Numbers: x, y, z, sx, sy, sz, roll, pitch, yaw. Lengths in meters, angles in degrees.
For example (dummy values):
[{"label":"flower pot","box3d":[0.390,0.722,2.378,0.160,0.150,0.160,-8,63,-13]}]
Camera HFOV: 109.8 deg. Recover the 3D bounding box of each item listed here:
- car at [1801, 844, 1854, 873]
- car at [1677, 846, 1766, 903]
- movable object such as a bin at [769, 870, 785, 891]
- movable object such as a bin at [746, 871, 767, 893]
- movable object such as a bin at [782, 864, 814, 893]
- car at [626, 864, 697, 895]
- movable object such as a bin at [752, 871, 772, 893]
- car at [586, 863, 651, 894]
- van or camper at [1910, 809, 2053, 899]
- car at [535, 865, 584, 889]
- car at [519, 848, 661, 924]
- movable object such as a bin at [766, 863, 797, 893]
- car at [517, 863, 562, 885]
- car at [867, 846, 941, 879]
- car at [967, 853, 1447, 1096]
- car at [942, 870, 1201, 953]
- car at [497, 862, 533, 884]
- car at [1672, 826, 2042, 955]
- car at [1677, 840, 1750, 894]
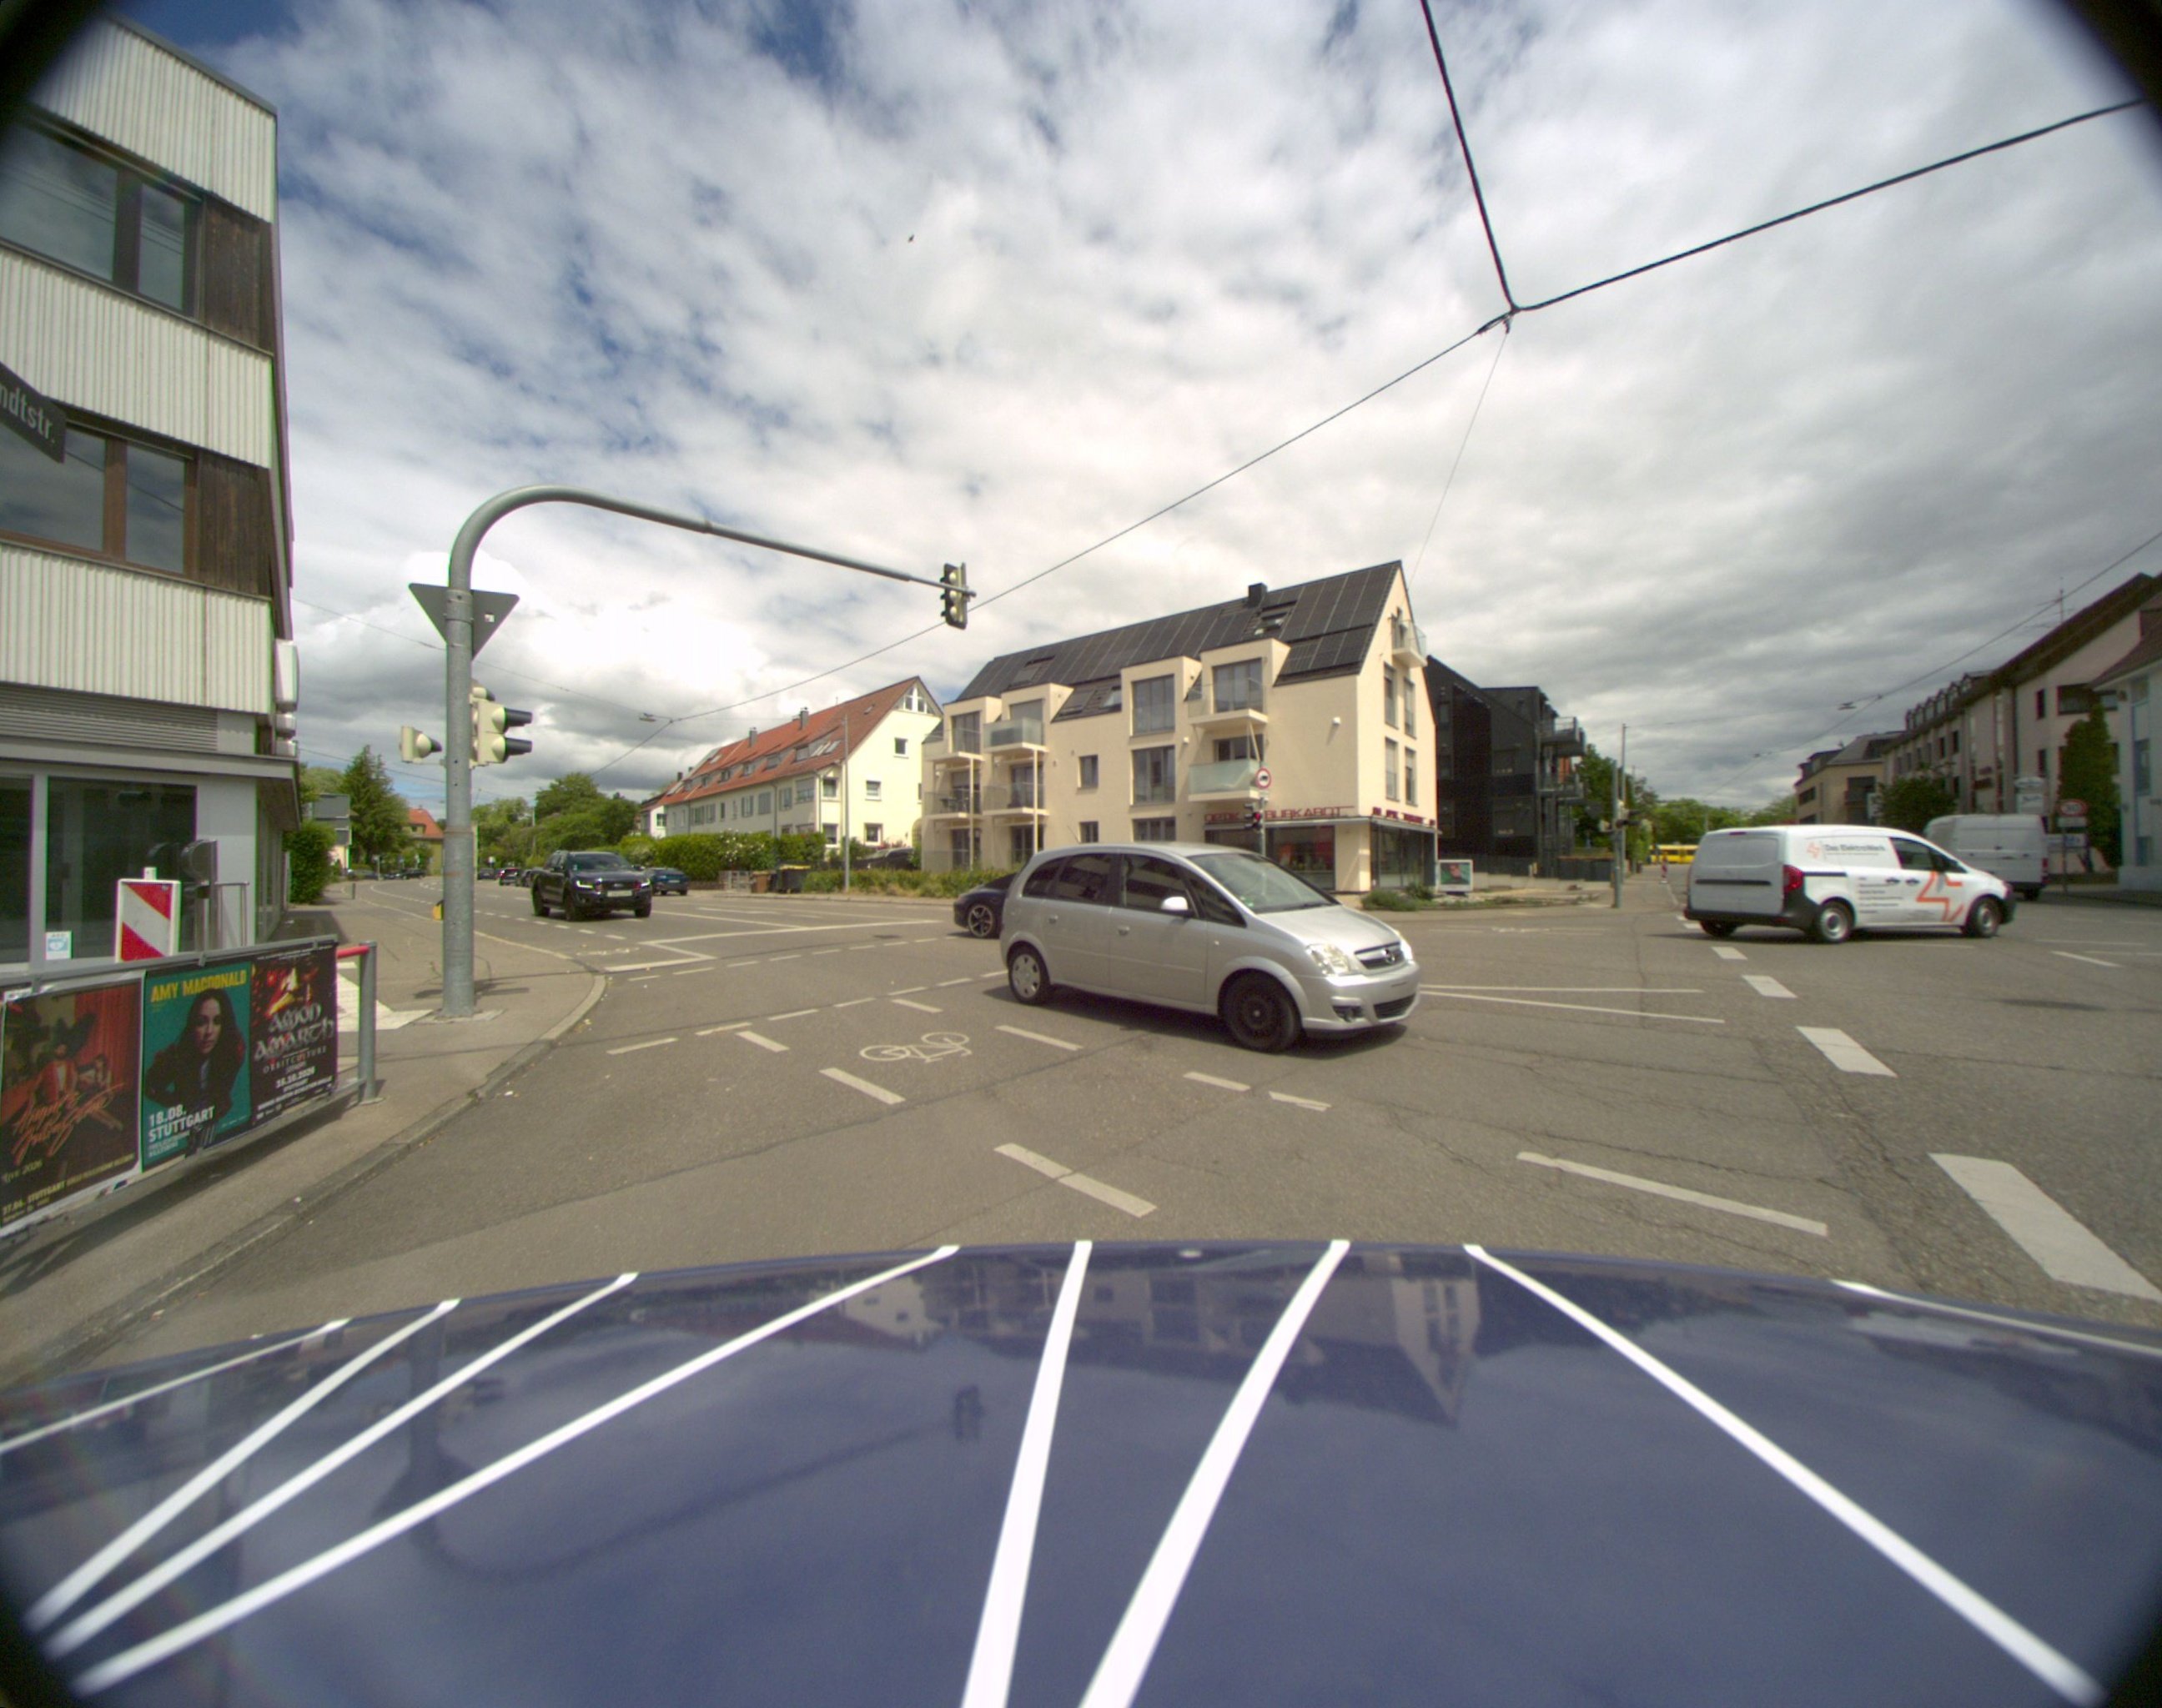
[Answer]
[{"label":"car","box3d":[52.539,0.289,53.557,1.994,2.002,4.008,-1,0,35]},{"label":"car","box3d":[20.845,0.593,24.867,1.994,1.674,4.008,-1,1,37]},{"label":"movable object such as a bin","box3d":[-15.305,1.322,38.240,0.523,1.059,0.656,-1,0,4]},{"label":"movable object such as a bin","box3d":[-16.397,1.405,38.392,0.766,1.059,0.690,-1,0,-40]},{"label":"movable object such as a bin","box3d":[-13.548,1.145,36.419,0.978,1.354,1.095,-1,0,43]},{"label":"car","box3d":[-22.210,1.320,40.198,4.440,1.492,1.824,-1,0,40]},{"label":"movable object such as a bin","box3d":[-15.890,1.388,37.842,0.766,1.059,0.690,-1,0,-40]},{"label":"car","box3d":[-26.360,1.348,43.213,4.440,1.623,2.004,-1,0,43]},{"label":"van or camper","box3d":[28.729,-0.007,24.478,2.107,2.572,5.658,3,1,42]},{"label":"car","box3d":[-37.635,1.613,54.796,4.224,1.623,2.004,-1,0,43]},{"label":"car","box3d":[-13.499,0.806,20.762,5.205,1.838,1.892,-1,0,41]},{"label":"movable object such as a bin","box3d":[-14.774,1.164,37.493,0.978,1.438,1.095,-1,0,43]},{"label":"car","box3d":[-41.775,1.496,58.562,4.224,1.623,2.004,-1,0,43]},{"label":"car","box3d":[-10.913,0.499,47.130,1.994,2.002,4.008,-1,0,43]},{"label":"car","box3d":[0.926,0.805,6.941,3.990,1.566,1.779,-1,0,43]},{"label":"car","box3d":[-0.186,0.961,13.963,4.292,1.275,2.004,-1,0,28]},{"label":"car","box3d":[-50.682,1.652,68.045,2.004,1.903,4.057,-1,0,-45]},{"label":"car","box3d":[12.214,0.527,12.108,4.418,1.801,1.821,-1,-1,-8]},{"label":"car","box3d":[25.112,0.481,30.285,1.994,2.002,4.008,0,0,36]}]
